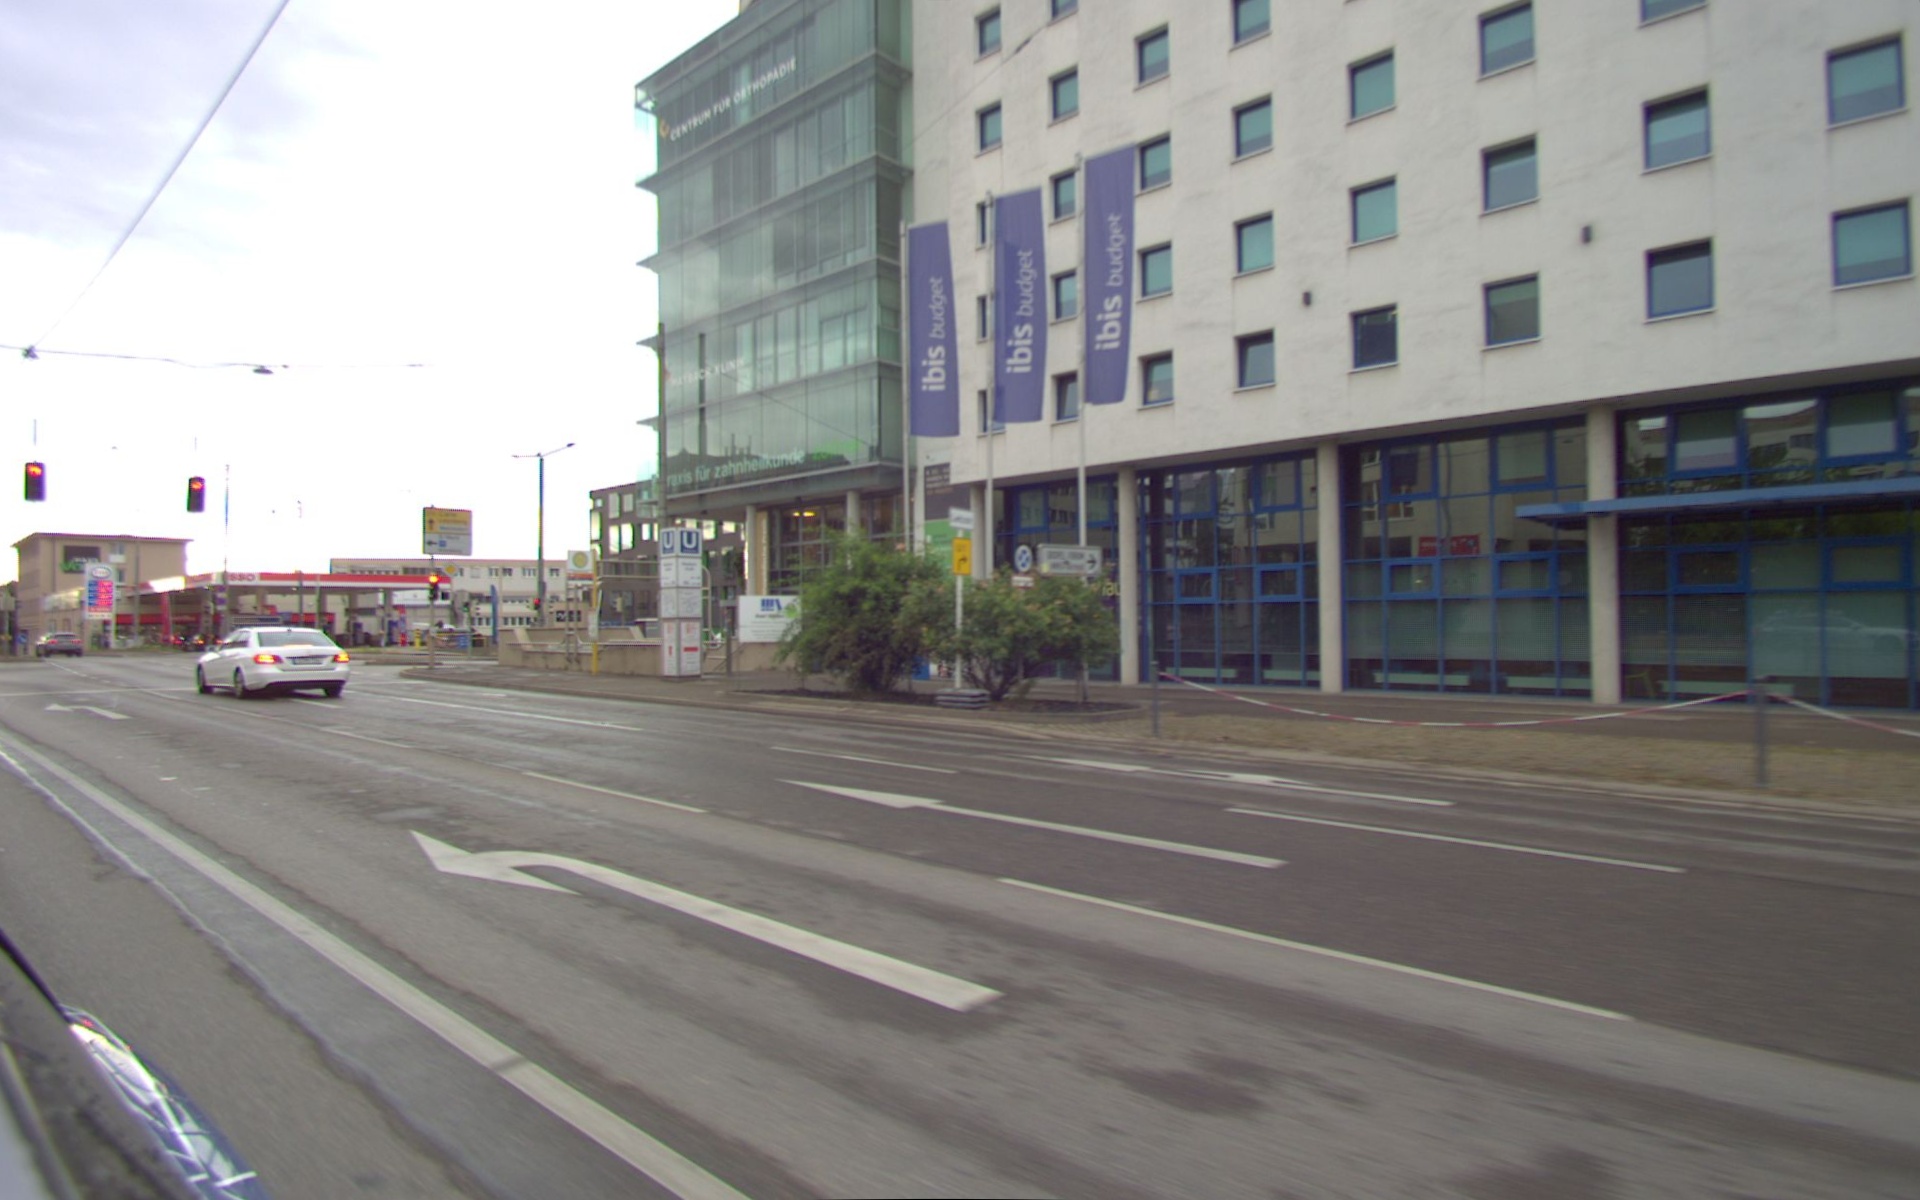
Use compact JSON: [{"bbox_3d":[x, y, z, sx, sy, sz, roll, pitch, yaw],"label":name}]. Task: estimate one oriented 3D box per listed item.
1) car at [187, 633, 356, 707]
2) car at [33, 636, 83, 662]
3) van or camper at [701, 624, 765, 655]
[{"bbox_3d":[-14.831,1.419,21.687,4.960,1.397,1.798,-2,-2,41],"label":"car"},{"bbox_3d":[-59.560,3.202,66.808,4.207,1.644,1.889,-2,-2,40],"label":"car"},{"bbox_3d":[-19.735,3.425,87.867,5.345,2.386,2.701,1,-2,42],"label":"van or camper"}]
